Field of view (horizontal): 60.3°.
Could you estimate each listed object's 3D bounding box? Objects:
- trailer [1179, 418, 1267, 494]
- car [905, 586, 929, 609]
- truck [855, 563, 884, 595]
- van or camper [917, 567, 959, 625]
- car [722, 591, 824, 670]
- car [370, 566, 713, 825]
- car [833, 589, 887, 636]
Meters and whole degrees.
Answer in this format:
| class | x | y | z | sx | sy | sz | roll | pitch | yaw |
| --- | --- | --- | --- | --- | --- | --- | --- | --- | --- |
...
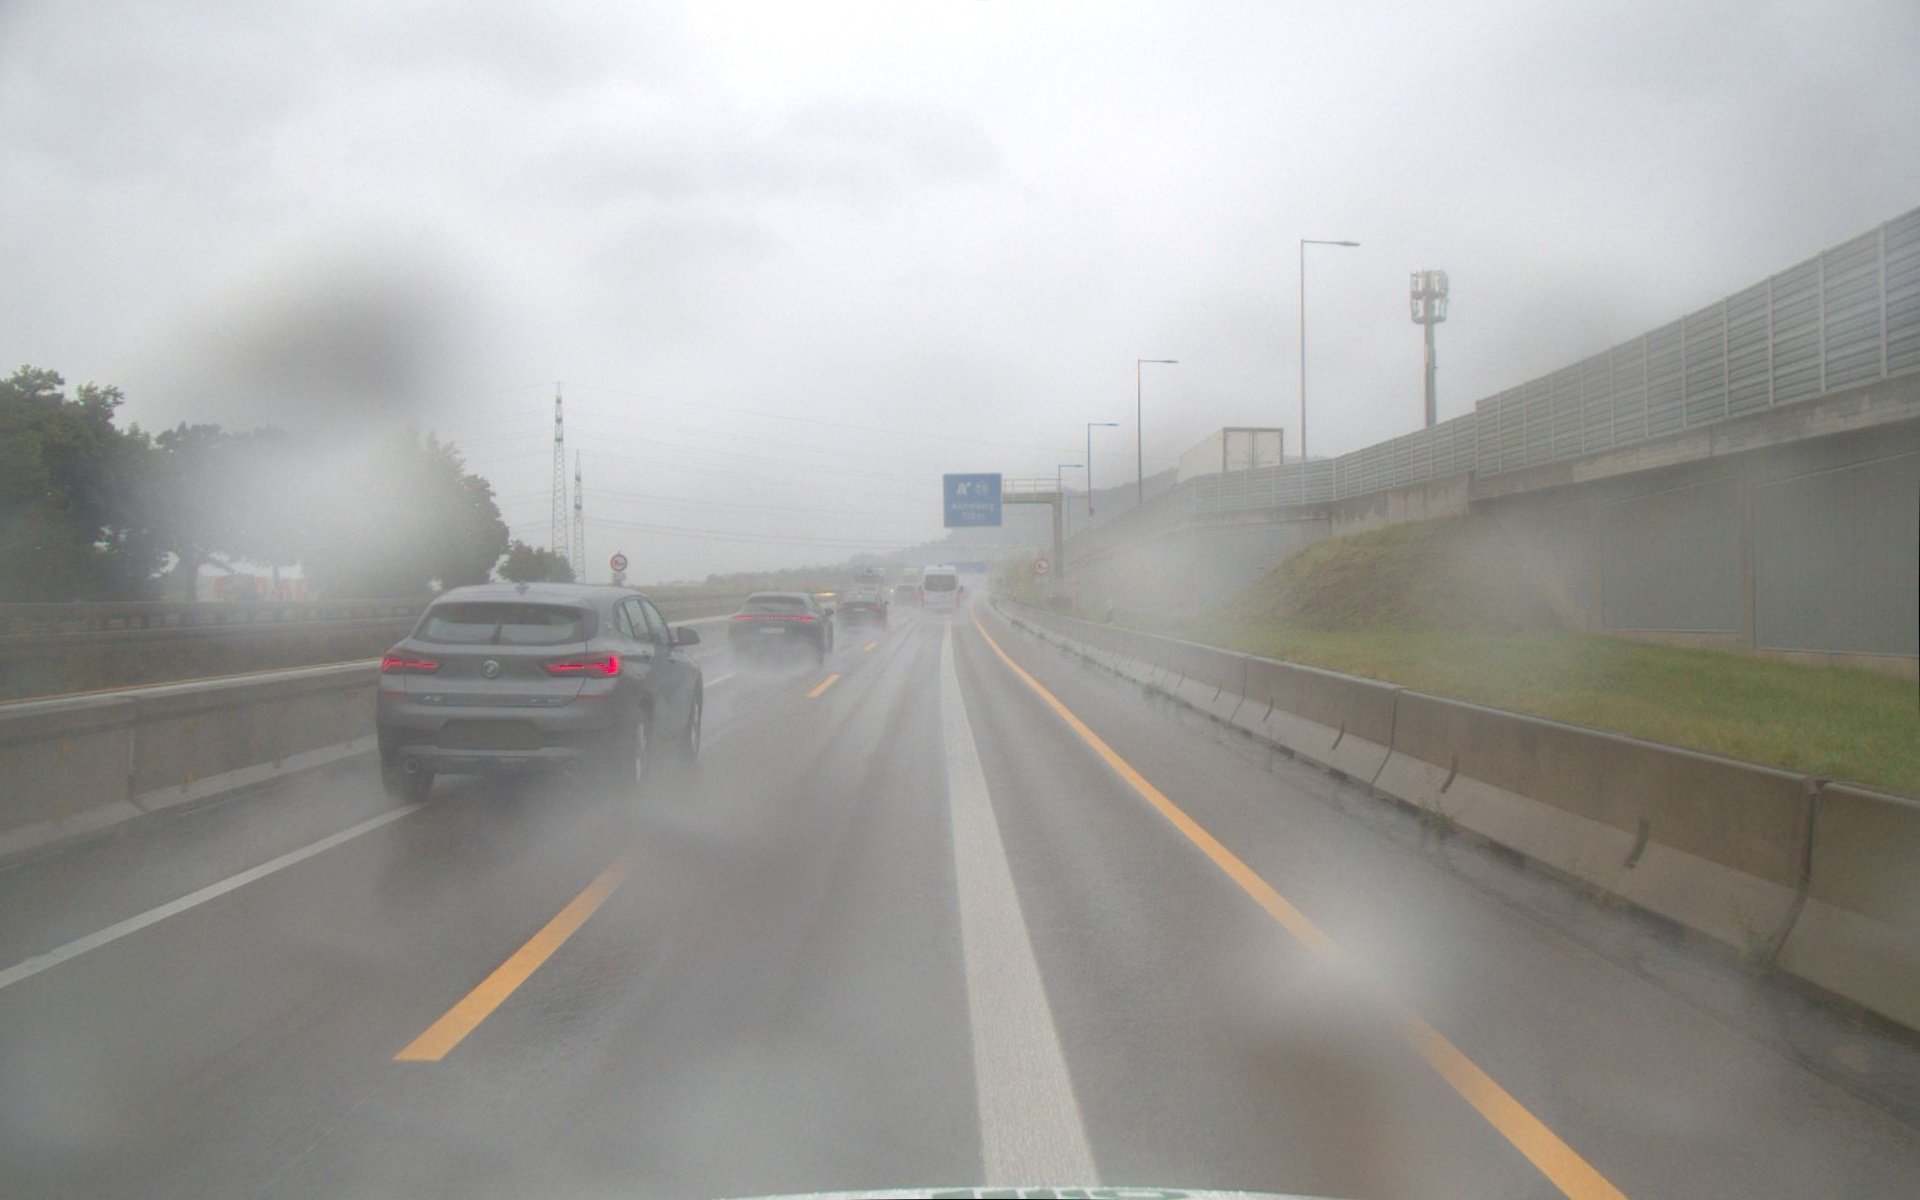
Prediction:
| class | x | y | z | sx | sy | sz | roll | pitch | yaw |
| --- | --- | --- | --- | --- | --- | --- | --- | --- | --- |
| trailer | 11.982 | -6.511 | 76.593 | 1.952 | 2.143 | 13.767 | 0 | -1 | 0 |
| car | -3.046 | -0.189 | 116.199 | 1.536 | 1.506 | 2.819 | -2 | -1 | -4 |
| truck | -10.062 | -2.324 | 184.030 | 2.585 | 3.406 | 9.553 | 1 | 1 | 0 |
| van or camper | -1.122 | -0.188 | 83.215 | 1.956 | 2.826 | 4.047 | 0 | -1 | -3 |
| car | -3.780 | 0.614 | 34.037 | 1.807 | 1.517 | 4.258 | 0 | -1 | -3 |
| car | -2.998 | 0.638 | 12.867 | 1.667 | 1.626 | 4.842 | 0 | -1 | -3 |
| car | -3.587 | 0.422 | 59.531 | 1.808 | 1.517 | 4.259 | -2 | 1 | -3 |
